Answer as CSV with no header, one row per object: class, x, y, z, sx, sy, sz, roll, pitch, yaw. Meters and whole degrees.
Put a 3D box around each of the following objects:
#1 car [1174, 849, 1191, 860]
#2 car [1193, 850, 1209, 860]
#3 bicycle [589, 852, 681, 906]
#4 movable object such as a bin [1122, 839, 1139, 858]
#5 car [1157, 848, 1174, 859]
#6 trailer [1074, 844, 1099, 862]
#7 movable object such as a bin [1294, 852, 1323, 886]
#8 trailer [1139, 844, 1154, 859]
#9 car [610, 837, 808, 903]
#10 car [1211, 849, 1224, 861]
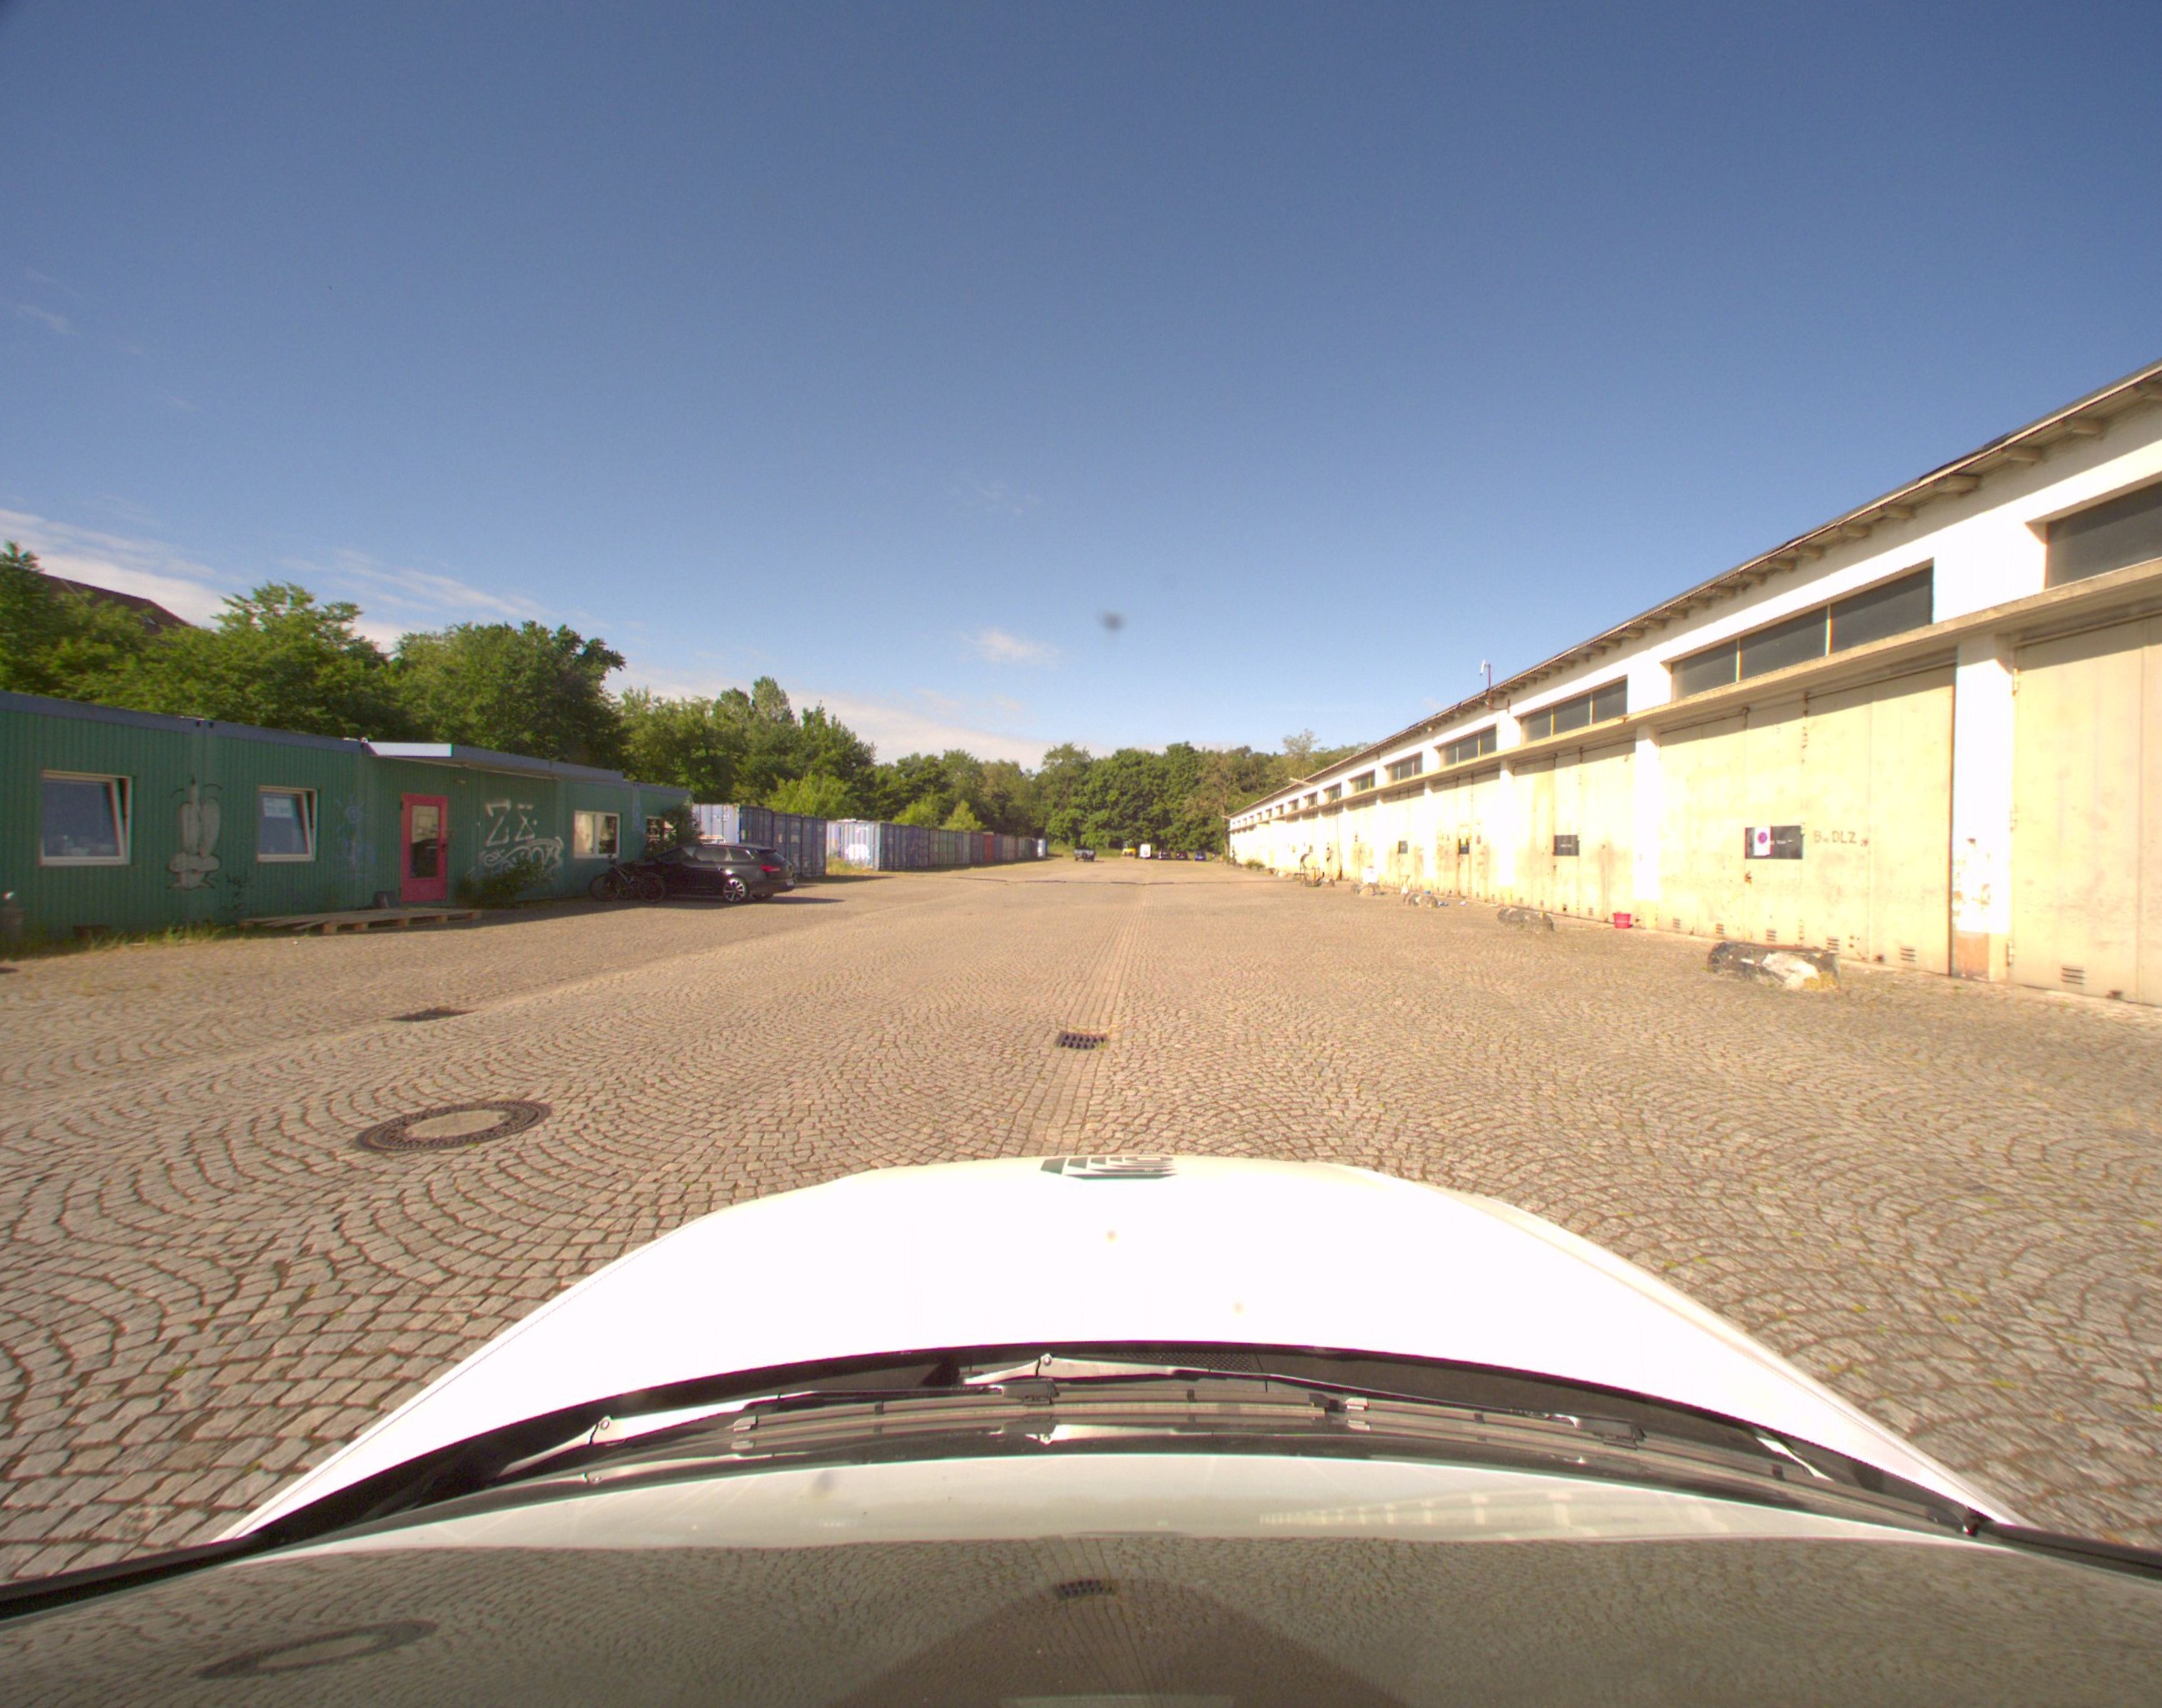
car,14.543,0.028,116.717,1.980,1.462,4.013,1,0,12
car,17.154,0.136,116.503,1.980,1.420,4.013,1,0,12
bicycle,-10.137,0.555,18.537,1.700,1.101,0.674,3,0,4
movable object such as a bin,7.251,-0.764,119.103,1.982,2.618,4.011,3,1,9
car,12.137,-0.046,116.719,1.849,1.585,4.013,1,0,12
trailer,0.718,-0.172,100.131,2.394,2.013,4.182,3,1,7
movable object such as a bin,9.257,0.607,33.145,0.820,1.331,1.280,1,0,0
trailer,9.596,-0.319,118.632,1.783,2.090,3.982,1,0,9
car,-9.120,0.382,20.203,4.037,1.413,1.731,2,0,-1
car,19.728,0.127,117.654,1.674,1.563,4.013,1,0,12
